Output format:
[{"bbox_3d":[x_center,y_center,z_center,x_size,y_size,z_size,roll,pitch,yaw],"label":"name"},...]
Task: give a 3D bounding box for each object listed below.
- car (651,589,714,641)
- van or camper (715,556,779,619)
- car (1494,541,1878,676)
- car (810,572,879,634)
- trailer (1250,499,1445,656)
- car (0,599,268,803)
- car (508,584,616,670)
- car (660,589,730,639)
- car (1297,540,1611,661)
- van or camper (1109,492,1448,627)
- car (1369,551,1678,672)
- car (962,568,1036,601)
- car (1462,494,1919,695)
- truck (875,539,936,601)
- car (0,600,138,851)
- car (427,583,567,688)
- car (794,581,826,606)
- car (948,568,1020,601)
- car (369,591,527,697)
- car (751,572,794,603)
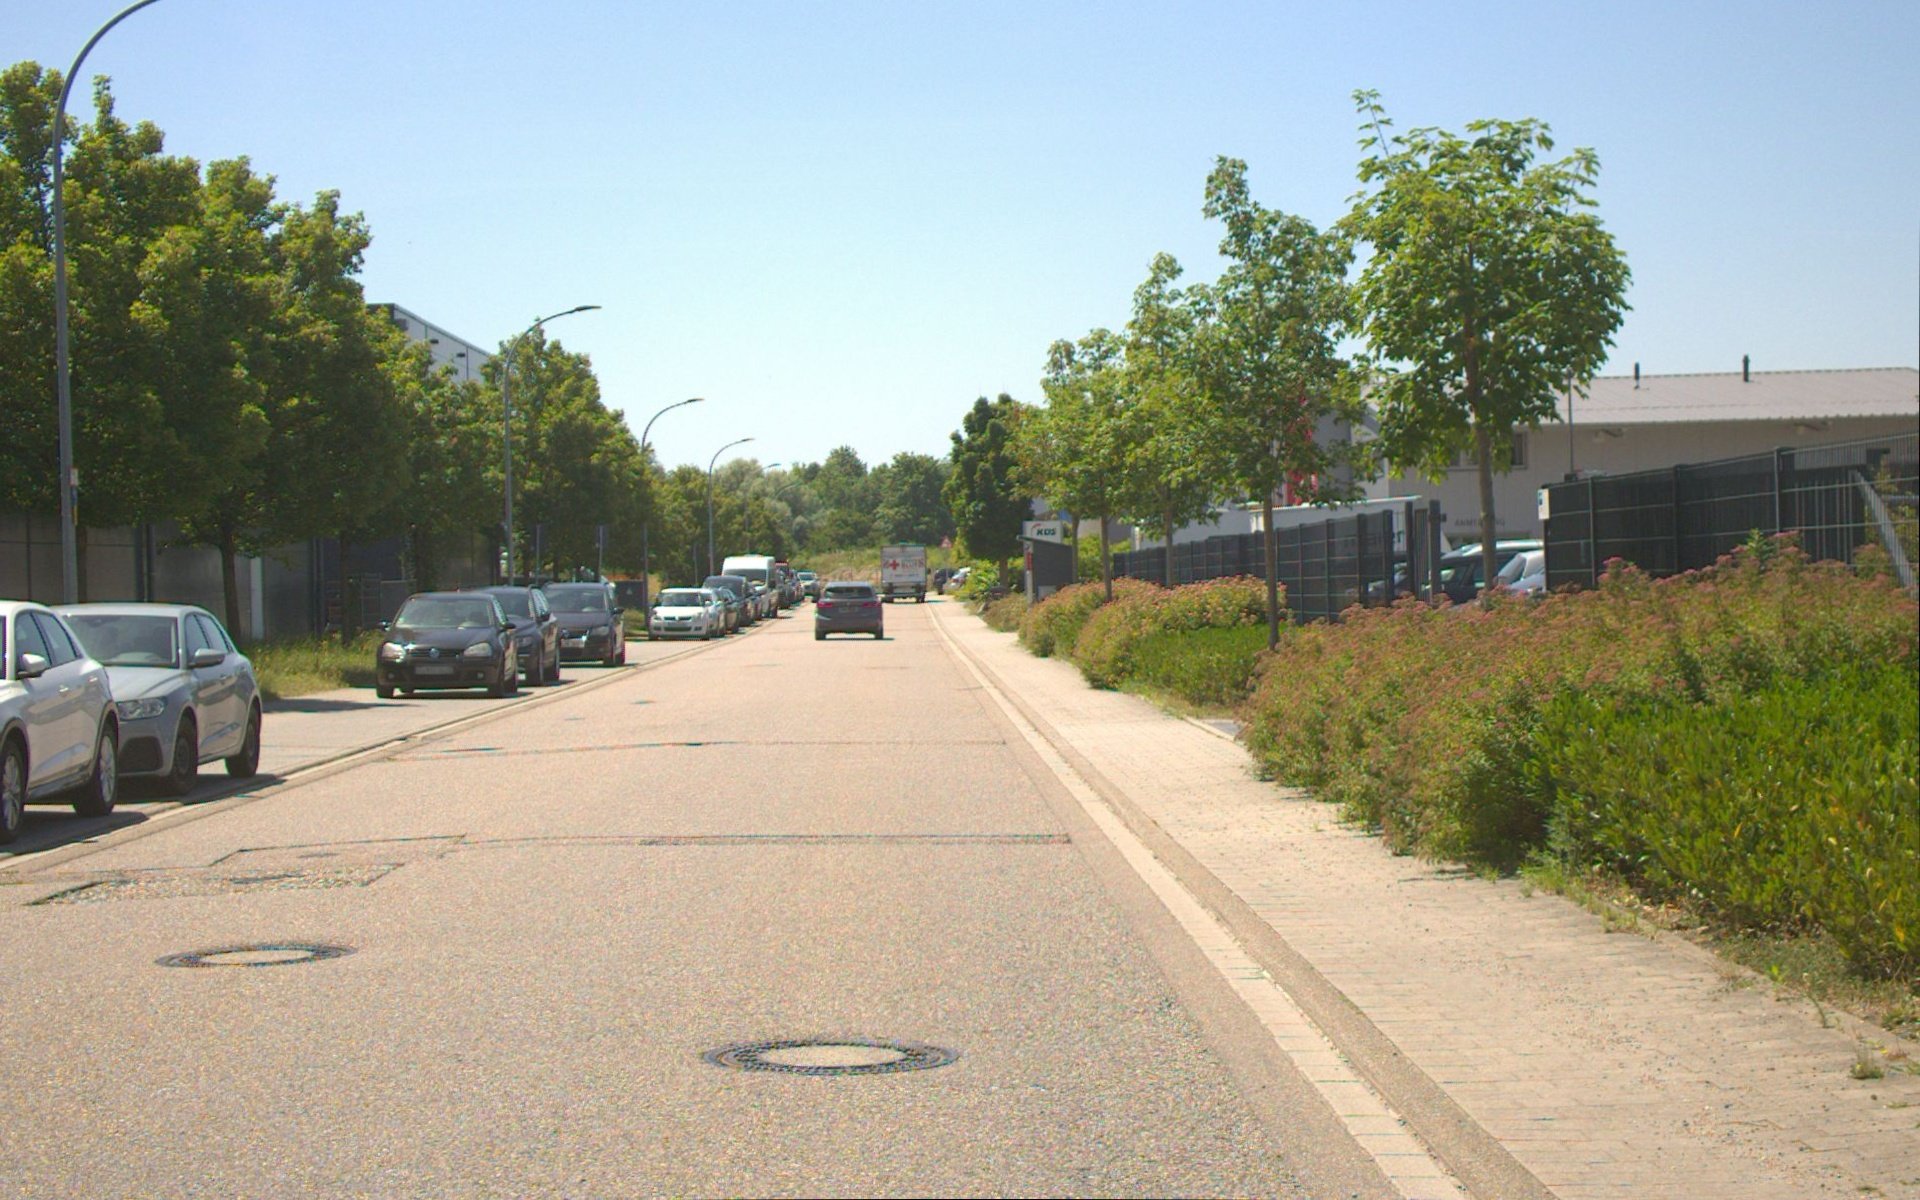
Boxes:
[{"bbox_3d":[-8.007,0.425,99.508,1.720,1.471,3.858,-1,0,-3],"label":"car"},{"bbox_3d":[-8.687,-0.516,140.605,2.078,2.474,6.130,1,0,1],"label":"van or camper"},{"bbox_3d":[8.889,0.096,42.303,4.279,1.440,1.755,-3,0,-1],"label":"car"},{"bbox_3d":[-3.094,0.078,92.895,1.789,1.618,3.809,1,0,-1],"label":"car"},{"bbox_3d":[6.299,-0.361,56.023,2.822,2.395,1.420,-3,0,-5],"label":"trailer"},{"bbox_3d":[-6.493,0.714,26.233,1.770,1.426,3.940,-1,0,-2],"label":"car"},{"bbox_3d":[-7.774,0.509,67.431,1.770,1.606,4.248,-1,0,-2],"label":"car"},{"bbox_3d":[-8.043,0.411,104.770,1.799,1.471,4.555,-1,0,0],"label":"car"},{"bbox_3d":[6.784,0.003,47.494,3.987,1.517,1.823,-2,0,-1],"label":"car"},{"bbox_3d":[6.643,-0.837,72.368,6.756,2.576,2.636,-2,0,-1],"label":"van or camper"},{"bbox_3d":[7.275,0.139,44.567,3.664,1.417,1.645,-2,0,-1],"label":"car"},{"bbox_3d":[2.118,-0.840,187.293,3.875,1.744,1.752,1,0,-3],"label":"car"},{"bbox_3d":[8.069,-0.077,36.428,5.113,1.867,1.903,-3,0,-1],"label":"car"},{"bbox_3d":[-2.698,-1.485,171.828,2.933,2.964,6.419,1,0,-1],"label":"truck"},{"bbox_3d":[-6.453,0.727,21.491,1.770,1.426,4.201,-1,0,-2],"label":"car"},{"bbox_3d":[-7.447,0.534,55.642,1.770,1.606,4.852,-1,0,-2],"label":"car"},{"bbox_3d":[-9.528,-0.419,218.133,1.799,1.482,4.252,-1,1,1],"label":"car"},{"bbox_3d":[1.309,-0.857,189.594,3.875,1.744,1.752,1,0,-3],"label":"car"},{"bbox_3d":[-7.254,0.596,49.039,1.770,1.426,4.201,-1,0,-2],"label":"car"},{"bbox_3d":[-9.165,-0.622,168.203,1.799,1.482,4.252,-1,1,1],"label":"car"}]
